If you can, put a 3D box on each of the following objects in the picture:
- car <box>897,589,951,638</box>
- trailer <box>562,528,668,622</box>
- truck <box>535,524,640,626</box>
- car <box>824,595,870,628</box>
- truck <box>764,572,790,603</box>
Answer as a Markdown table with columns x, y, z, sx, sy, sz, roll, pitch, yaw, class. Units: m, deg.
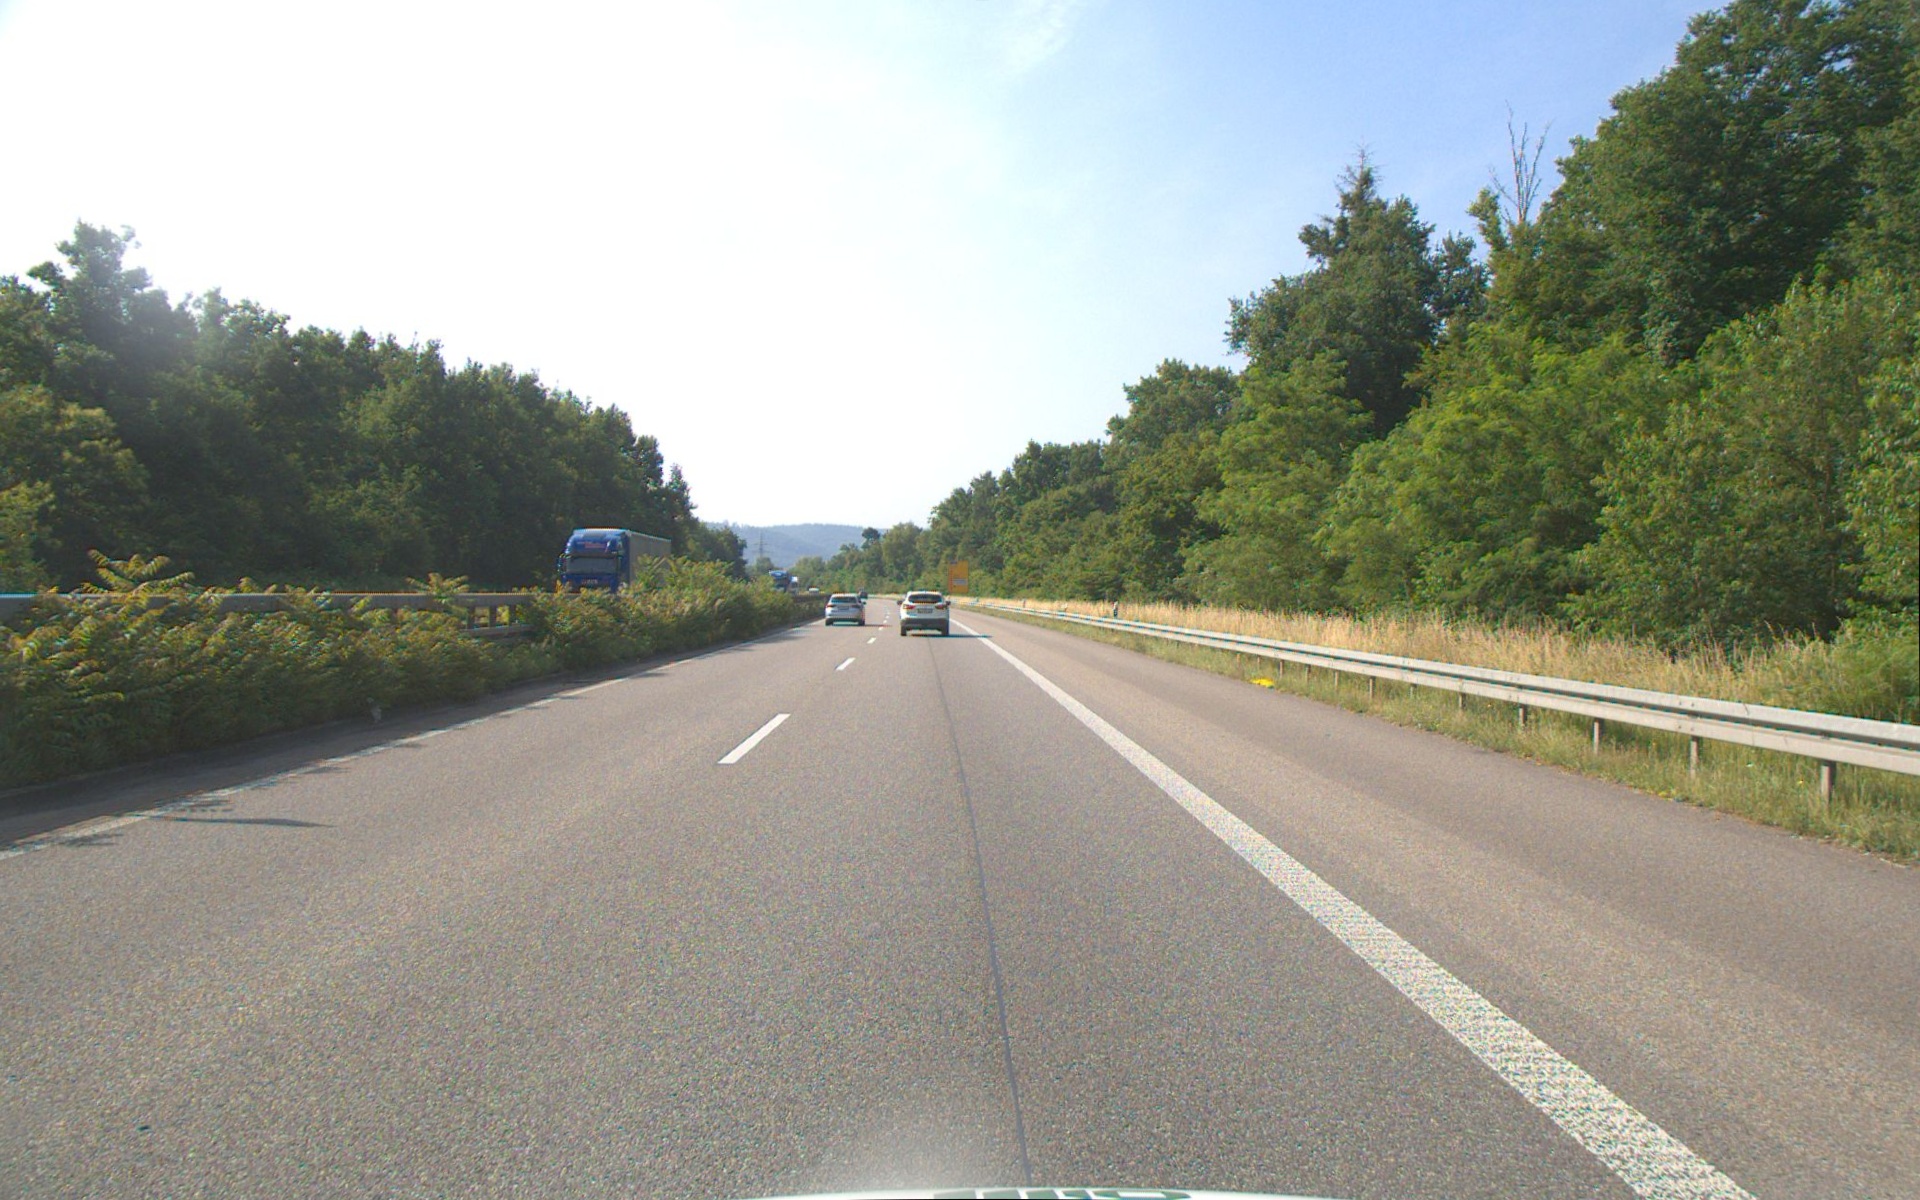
| x | y | z | sx | sy | sz | roll | pitch | yaw | class |
| --- | --- | --- | --- | --- | --- | --- | --- | --- | --- |
| -1.309 | 0.474 | 60.525 | 1.836 | 1.613 | 3.999 | 3 | 1 | -1 | car |
| -16.028 | -1.108 | 77.715 | 2.774 | 4.068 | 11.431 | 1 | 0 | -1 | trailer |
| -15.889 | -1.034 | 71.113 | 2.728 | 4.068 | 8.414 | 1 | 0 | -1 | truck |
| -5.308 | 0.504 | 78.002 | 1.755 | 1.463 | 5.279 | 0 | 0 | 0 | car |
| -23.941 | -1.634 | 216.704 | 2.746 | 3.836 | 8.471 | 1 | 0 | -3 | truck |
